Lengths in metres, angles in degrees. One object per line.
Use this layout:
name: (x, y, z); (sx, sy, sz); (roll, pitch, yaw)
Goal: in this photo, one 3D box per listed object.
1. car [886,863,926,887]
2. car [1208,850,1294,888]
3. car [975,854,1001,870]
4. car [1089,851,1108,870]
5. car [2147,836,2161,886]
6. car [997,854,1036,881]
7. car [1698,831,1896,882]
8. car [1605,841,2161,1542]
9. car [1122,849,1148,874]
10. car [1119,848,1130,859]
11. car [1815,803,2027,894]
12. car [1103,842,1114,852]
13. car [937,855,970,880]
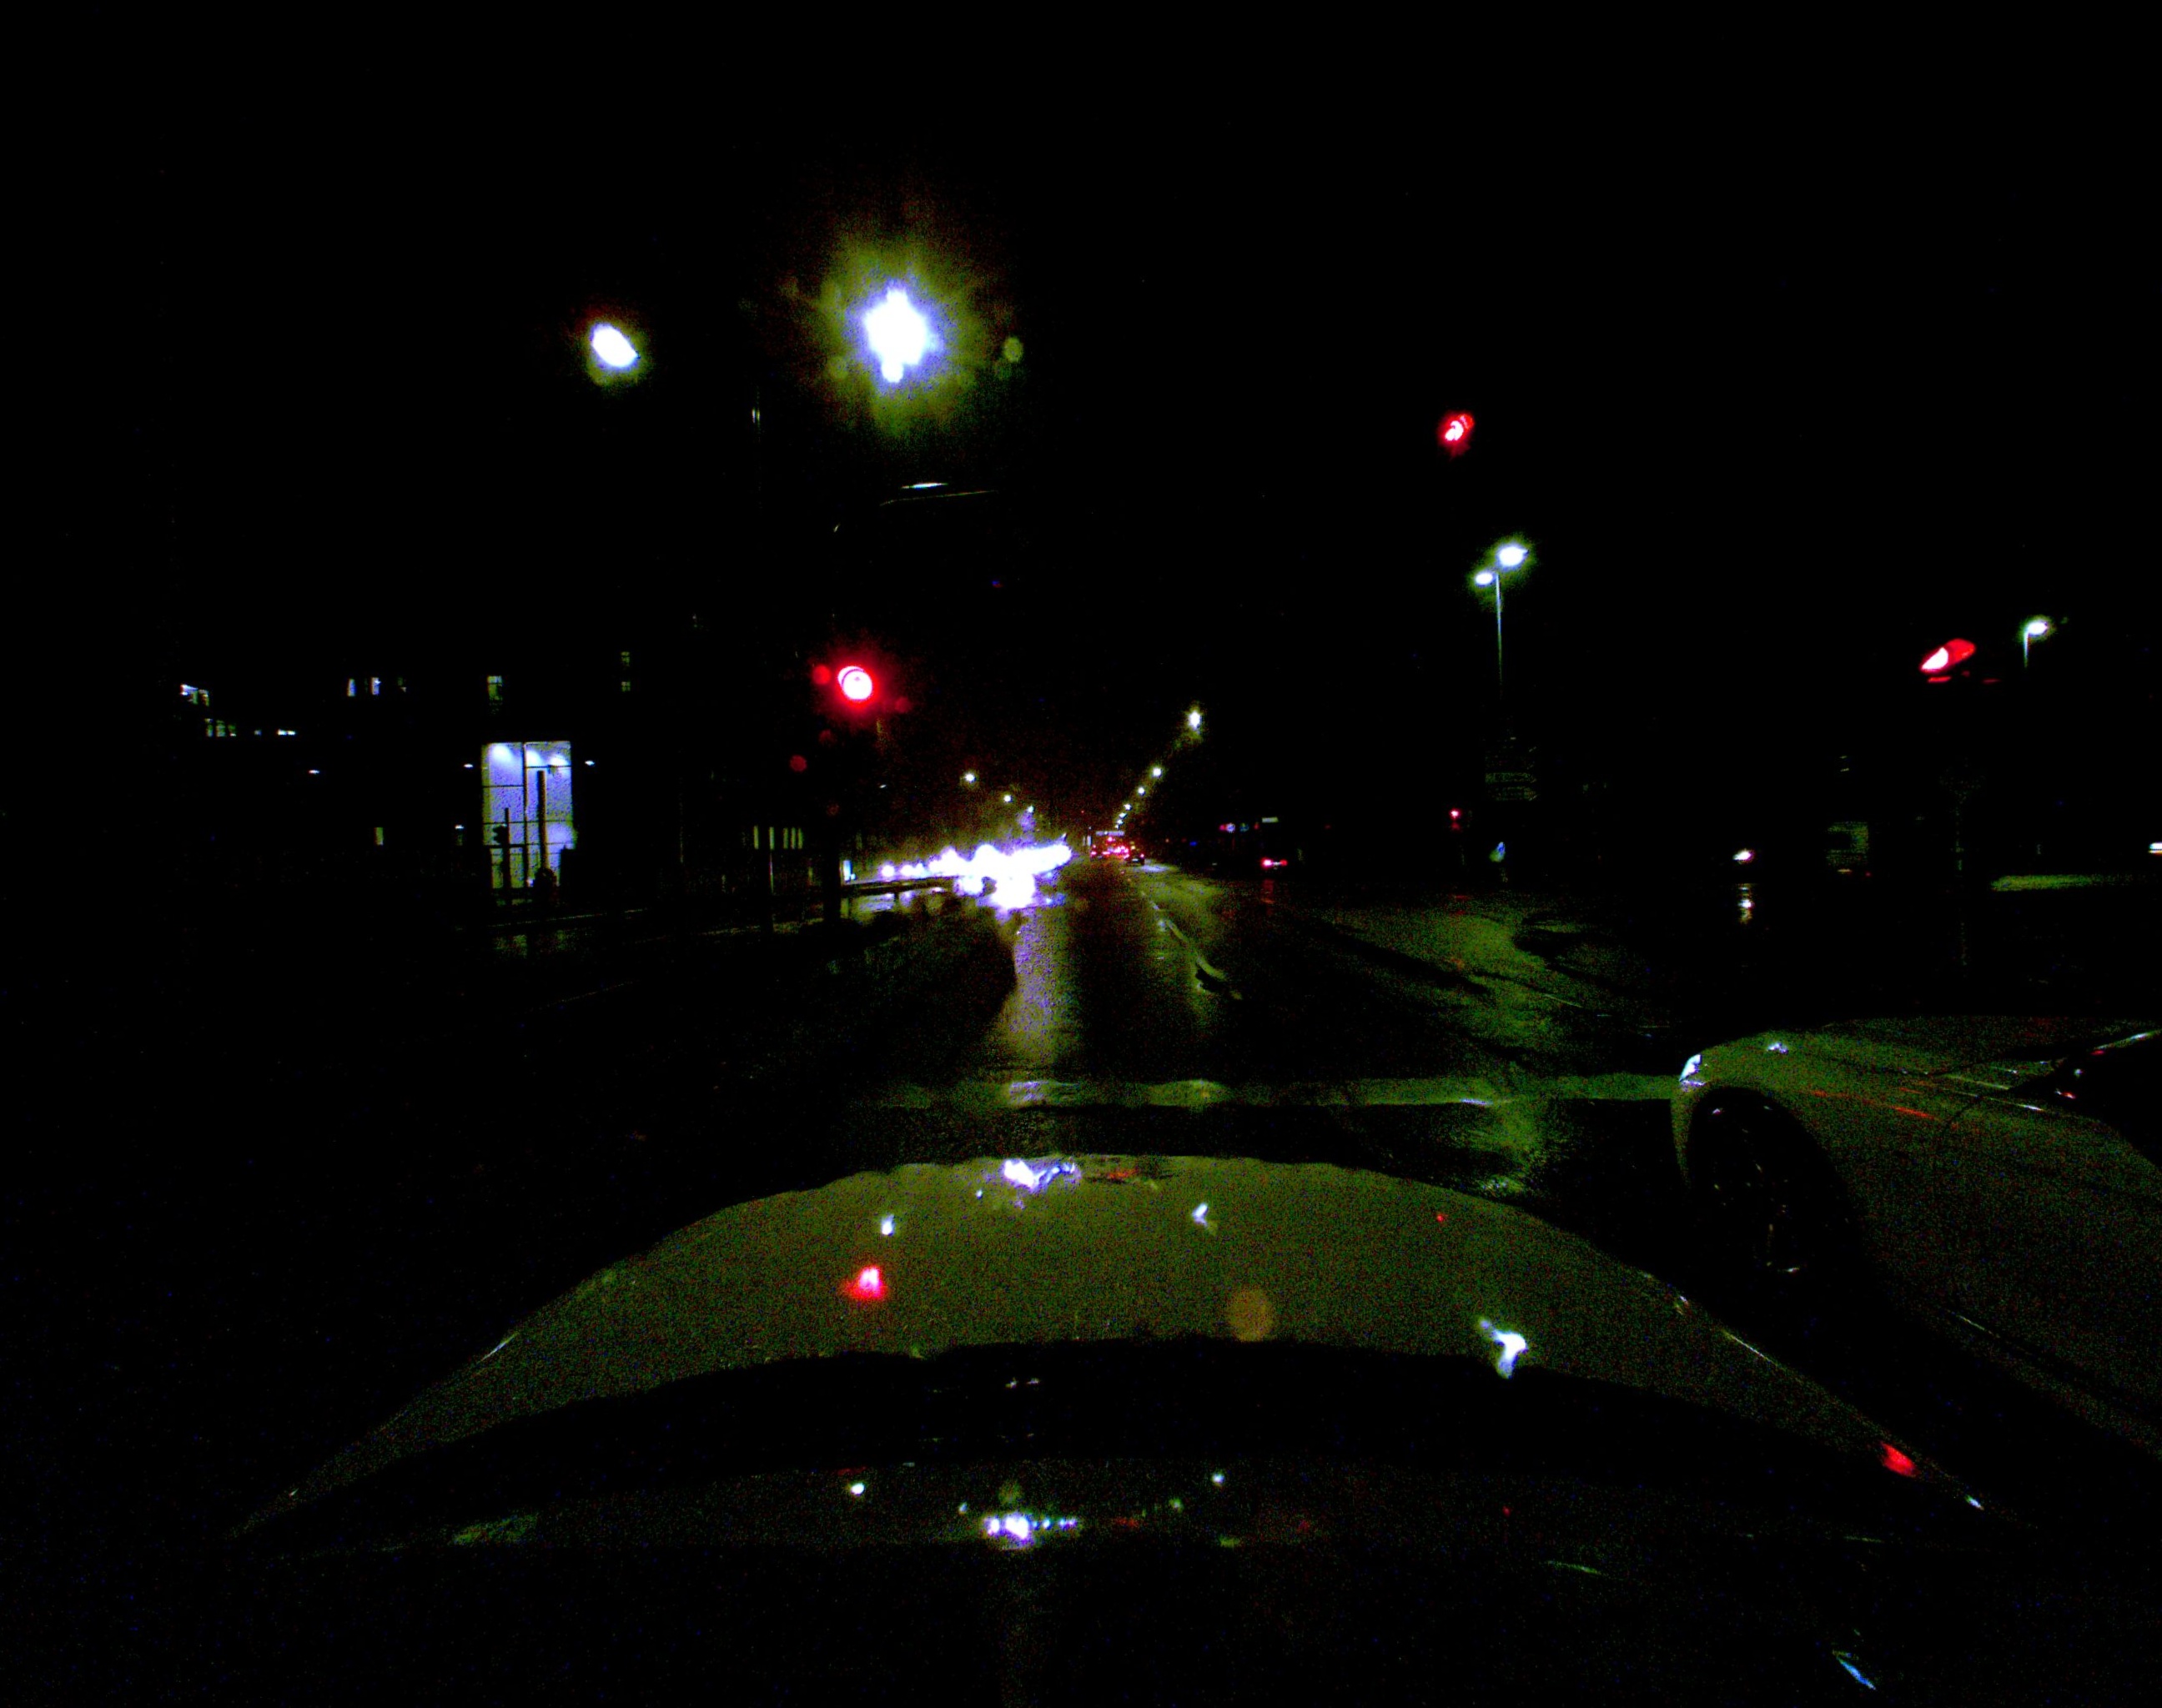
car: (-12.171, 1.434, 56.815); (1.794, 1.564, 4.001); (-1, -1, 2)
car: (8.462, 0.756, 40.816); (1.917, 1.780, 3.956); (-1, -1, -36)
car: (-9.238, 0.819, 81.327); (1.878, 1.552, 4.435); (-1, -1, 2)
car: (1.928, 0.709, 88.106); (1.986, 2.014, 4.001); (-1, -1, 2)
car: (41.463, 0.209, 29.589); (3.410, 1.838, 1.685); (-1, -1, -3)
car: (-4.099, 0.880, 52.611); (1.986, 1.610, 4.972); (-1, -1, 2)
car: (24.287, 0.103, 27.792); (4.823, 1.590, 1.857); (-1, -1, 8)
car: (3.125, 0.701, 1.315); (1.714, 1.446, 4.383); (-3, -1, 1)
car: (4.903, 0.661, 74.471); (2.200, 2.215, 3.644); (-1, -1, 2)
car: (8.101, -0.089, 150.990); (2.029, 2.014, 4.311); (-1, -1, 4)
car: (20.036, -0.128, 19.515); (3.551, 2.014, 1.700); (-1, -1, -6)
car: (6.404, -1.633, 191.437); (2.434, 2.194, 5.076); (-1, -1, -1)
car: (-9.270, 0.961, 59.504); (1.744, 1.709, 4.497); (-3, -1, -1)
